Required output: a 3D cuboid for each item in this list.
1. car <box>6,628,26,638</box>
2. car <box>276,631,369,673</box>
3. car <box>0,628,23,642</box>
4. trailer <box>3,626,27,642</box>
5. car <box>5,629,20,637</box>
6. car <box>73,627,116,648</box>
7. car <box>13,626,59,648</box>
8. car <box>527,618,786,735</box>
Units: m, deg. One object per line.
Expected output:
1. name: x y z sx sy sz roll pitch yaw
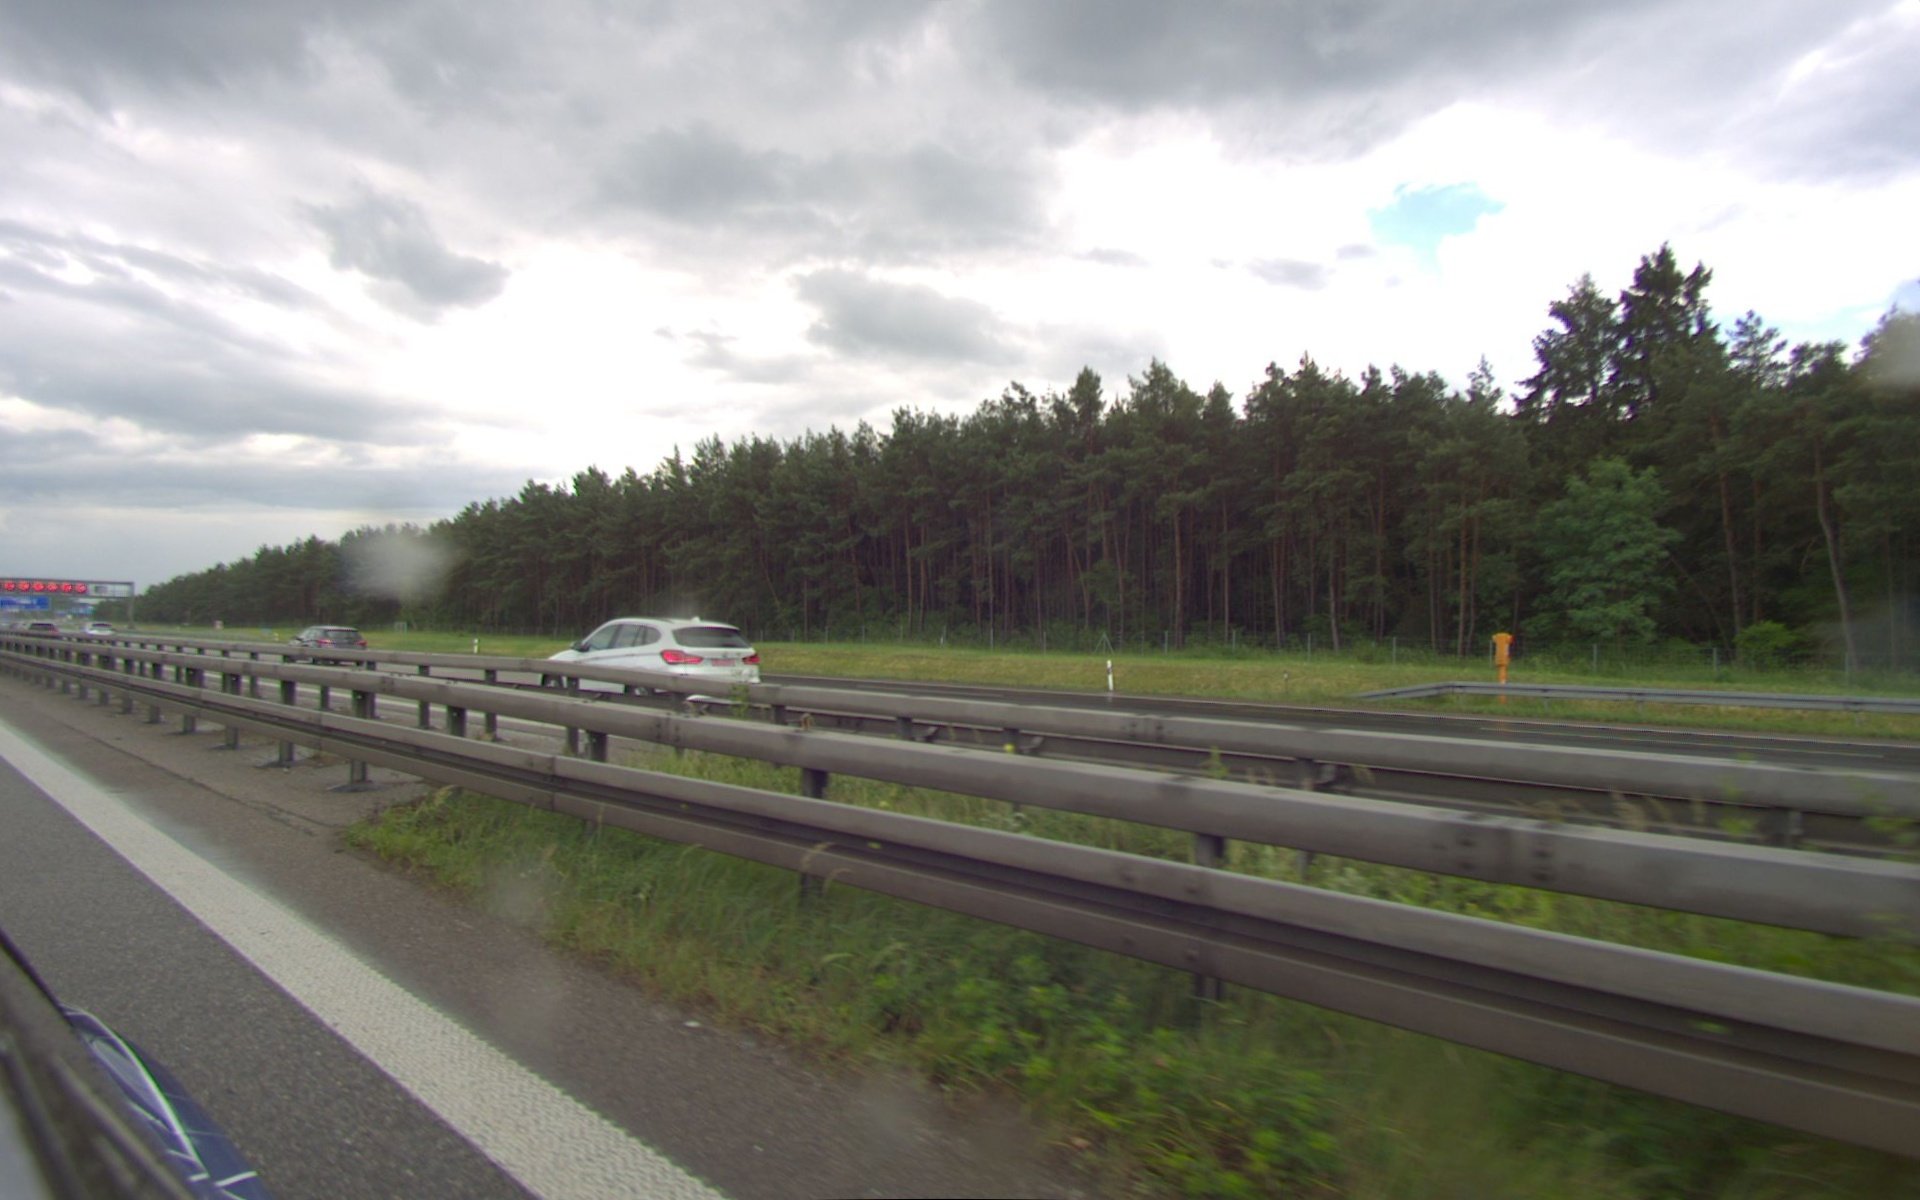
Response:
1. car: -148.893 5.208 159.597 4.512 1.559 1.879 -1 -4 42
2. car: -24.223 1.962 38.416 4.234 1.433 1.792 -1 -4 41
3. car: -104.695 3.846 111.357 4.570 1.431 1.810 -1 -4 40
4. trailer: -101.690 3.644 108.872 3.206 1.685 1.465 -1 -4 40
5. car: -177.951 6.173 189.992 4.183 1.406 1.705 -1 -4 43
6. car: -62.282 2.683 72.782 3.997 1.492 1.710 -1 -3 41
7. car: -61.632 2.452 67.471 4.090 1.399 1.710 -1 -4 41
8. car: -4.906 1.096 16.035 4.488 1.601 1.840 -1 -2 41
